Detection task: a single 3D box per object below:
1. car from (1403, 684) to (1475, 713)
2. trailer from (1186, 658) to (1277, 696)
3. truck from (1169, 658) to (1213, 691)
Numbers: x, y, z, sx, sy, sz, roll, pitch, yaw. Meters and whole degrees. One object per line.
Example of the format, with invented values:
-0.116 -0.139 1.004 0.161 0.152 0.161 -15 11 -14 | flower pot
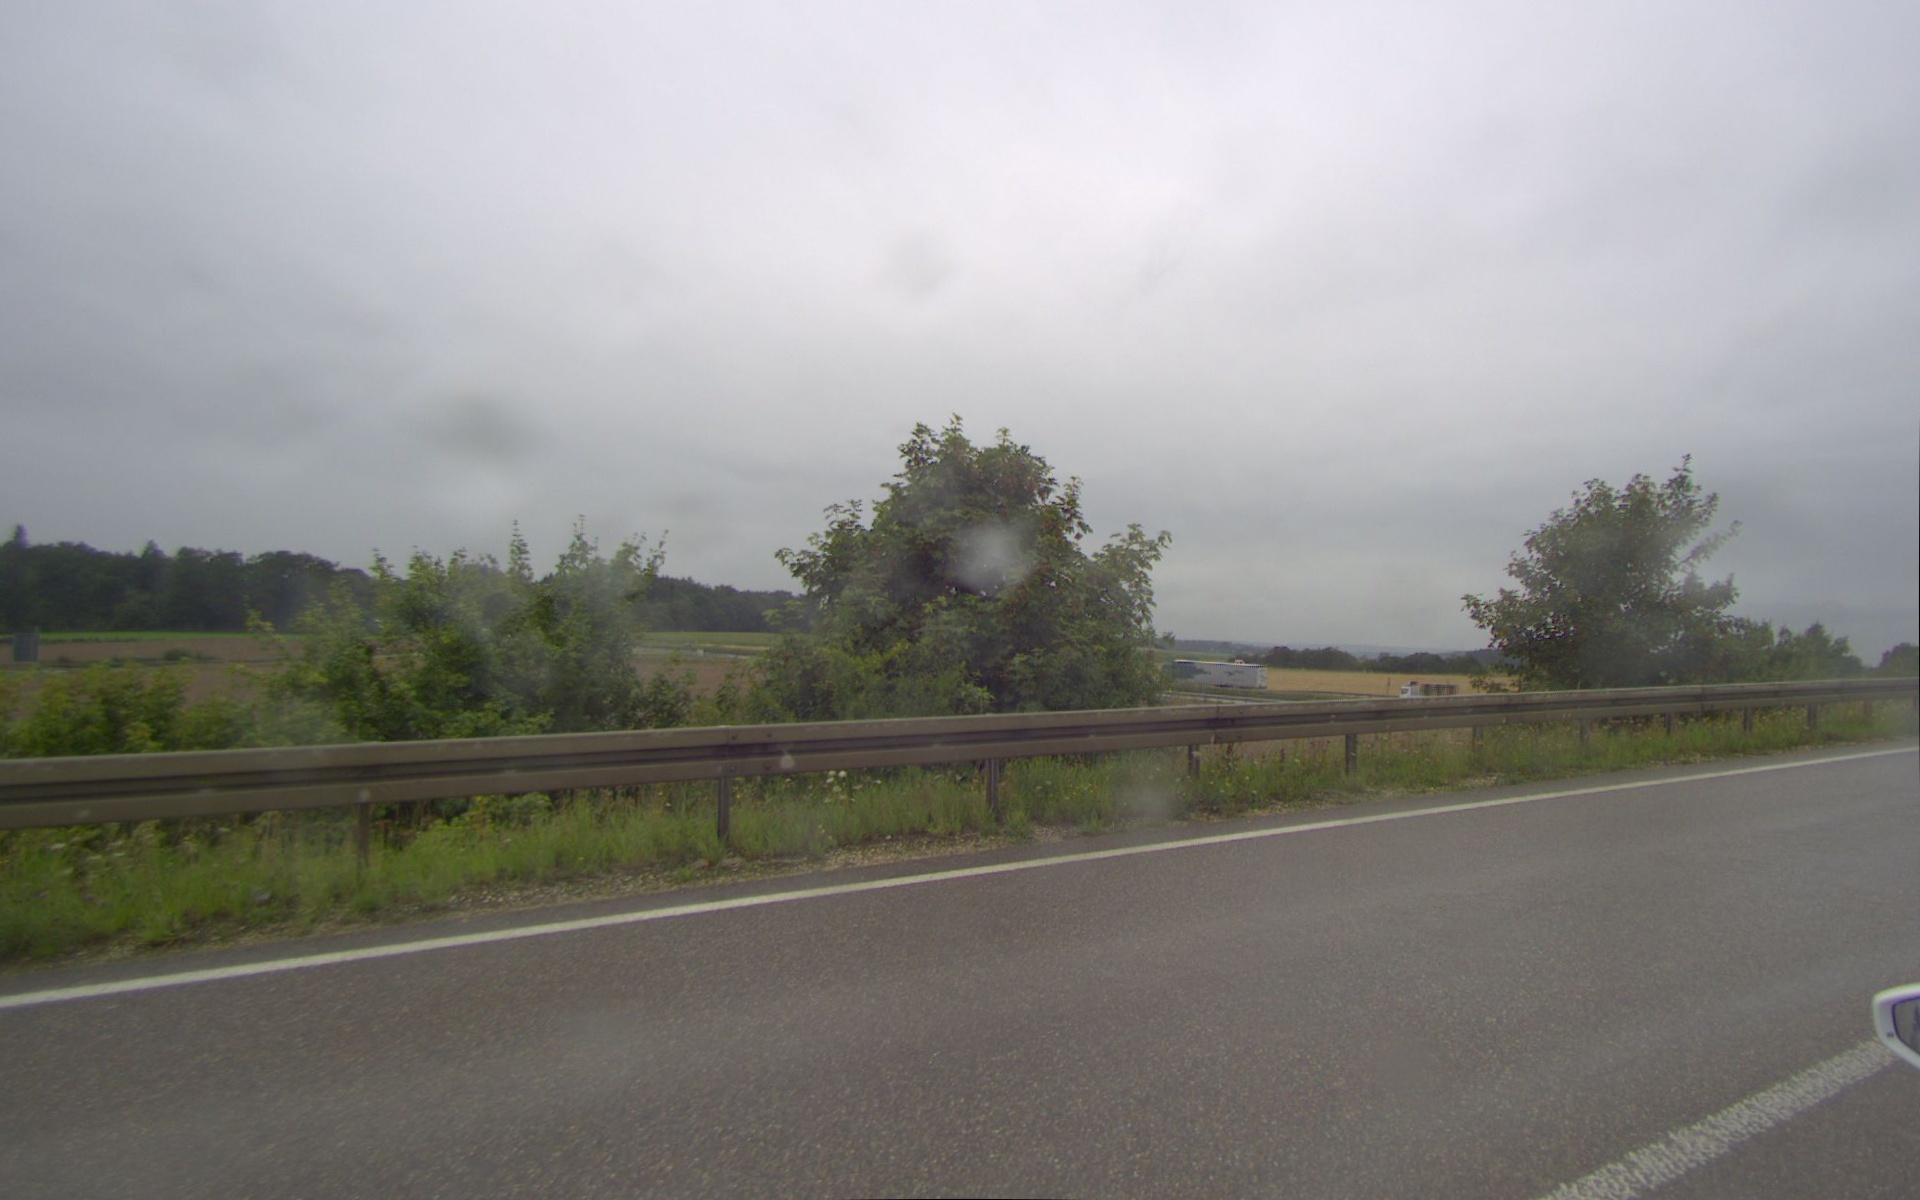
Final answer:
60.668 12.472 127.383 2.992 3.008 7.754 3 -2 -40 | car
40.411 11.426 149.993 2.991 4.733 13.740 3 -2 -40 | trailer
35.772 11.549 155.452 2.992 4.733 5.877 3 -2 -40 | truck
